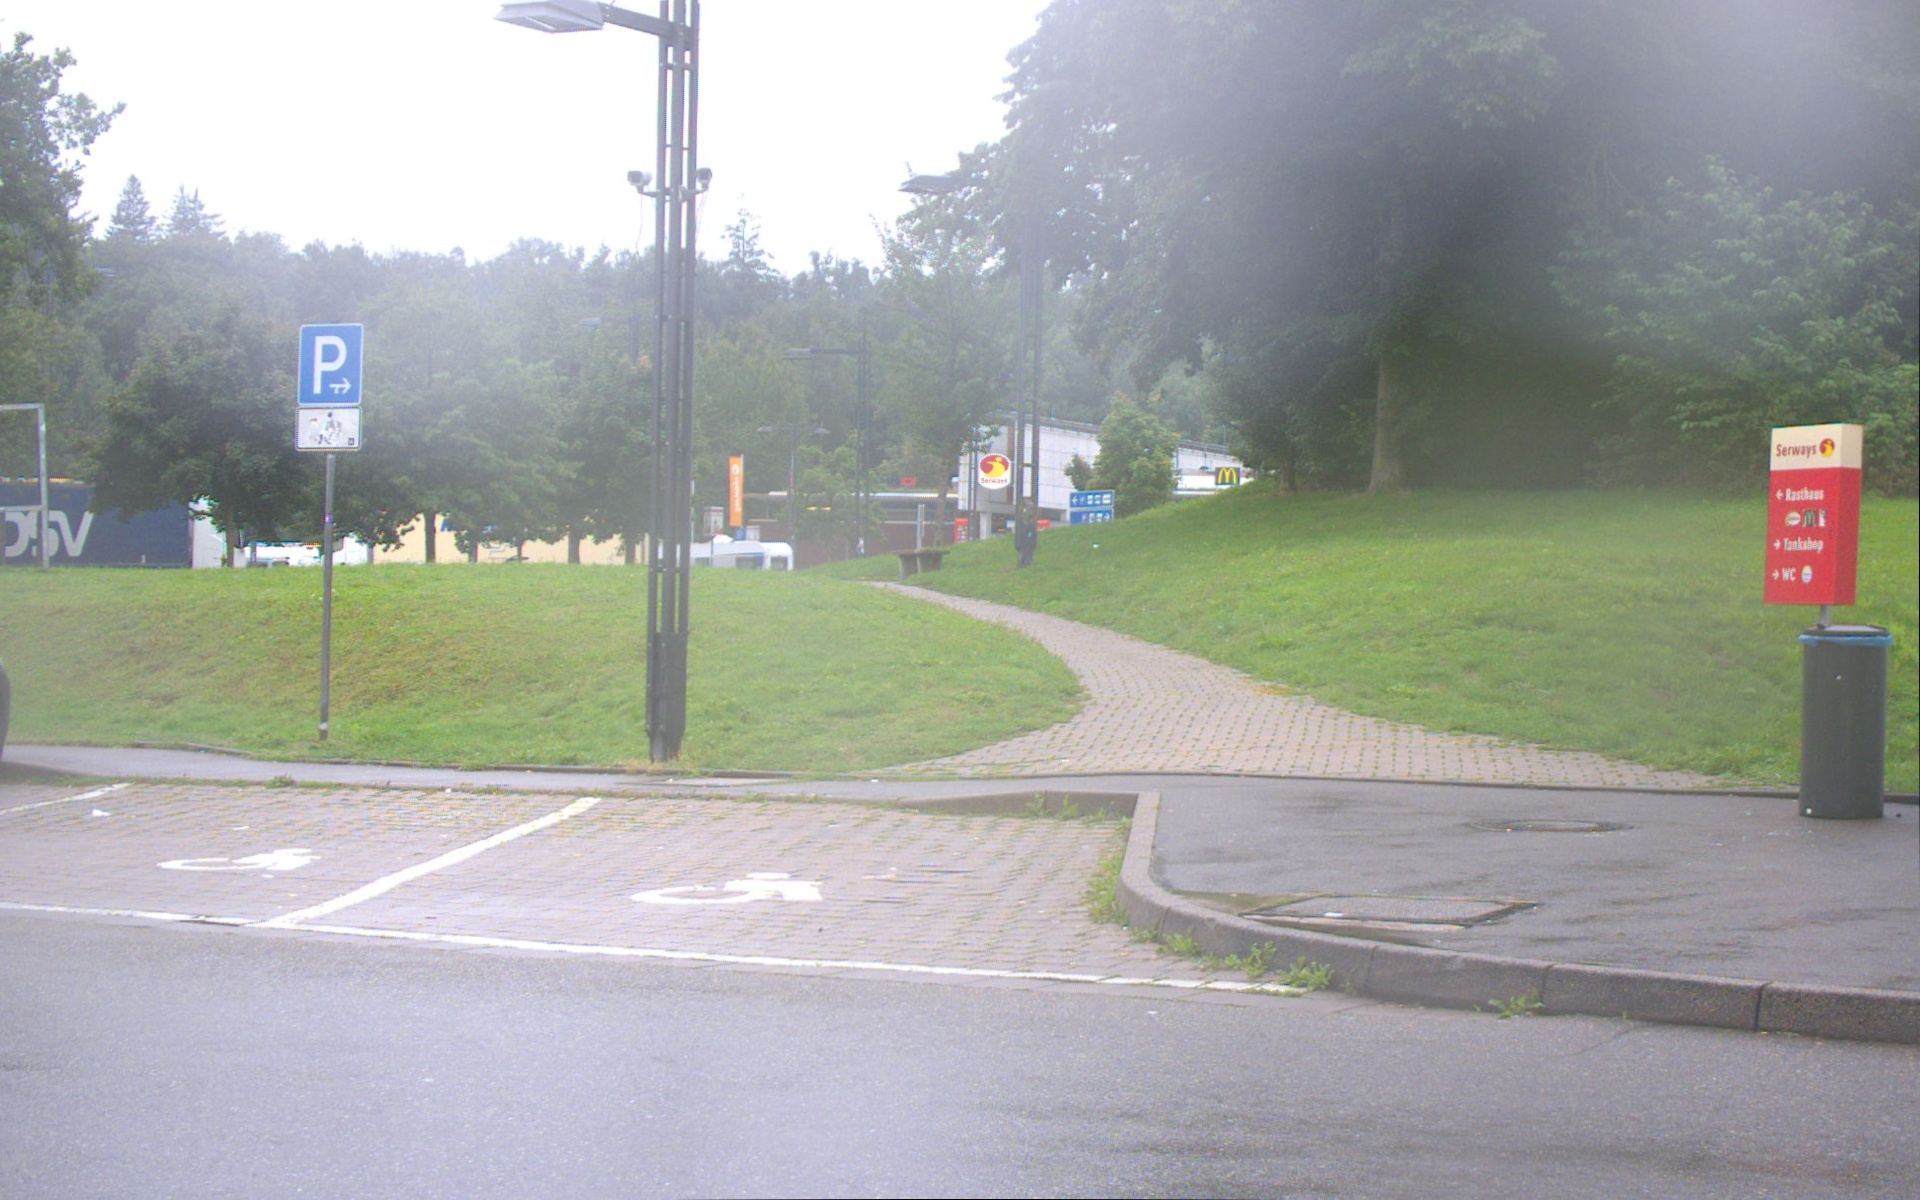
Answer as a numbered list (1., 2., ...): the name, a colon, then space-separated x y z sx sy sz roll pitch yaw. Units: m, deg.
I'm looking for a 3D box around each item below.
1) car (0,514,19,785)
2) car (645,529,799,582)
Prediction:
1. car: -7.770 0.372 21.456 1.885 1.821 4.411 0 1 11
2. car: -9.249 -1.737 133.784 5.429 2.007 2.453 1 1 20
